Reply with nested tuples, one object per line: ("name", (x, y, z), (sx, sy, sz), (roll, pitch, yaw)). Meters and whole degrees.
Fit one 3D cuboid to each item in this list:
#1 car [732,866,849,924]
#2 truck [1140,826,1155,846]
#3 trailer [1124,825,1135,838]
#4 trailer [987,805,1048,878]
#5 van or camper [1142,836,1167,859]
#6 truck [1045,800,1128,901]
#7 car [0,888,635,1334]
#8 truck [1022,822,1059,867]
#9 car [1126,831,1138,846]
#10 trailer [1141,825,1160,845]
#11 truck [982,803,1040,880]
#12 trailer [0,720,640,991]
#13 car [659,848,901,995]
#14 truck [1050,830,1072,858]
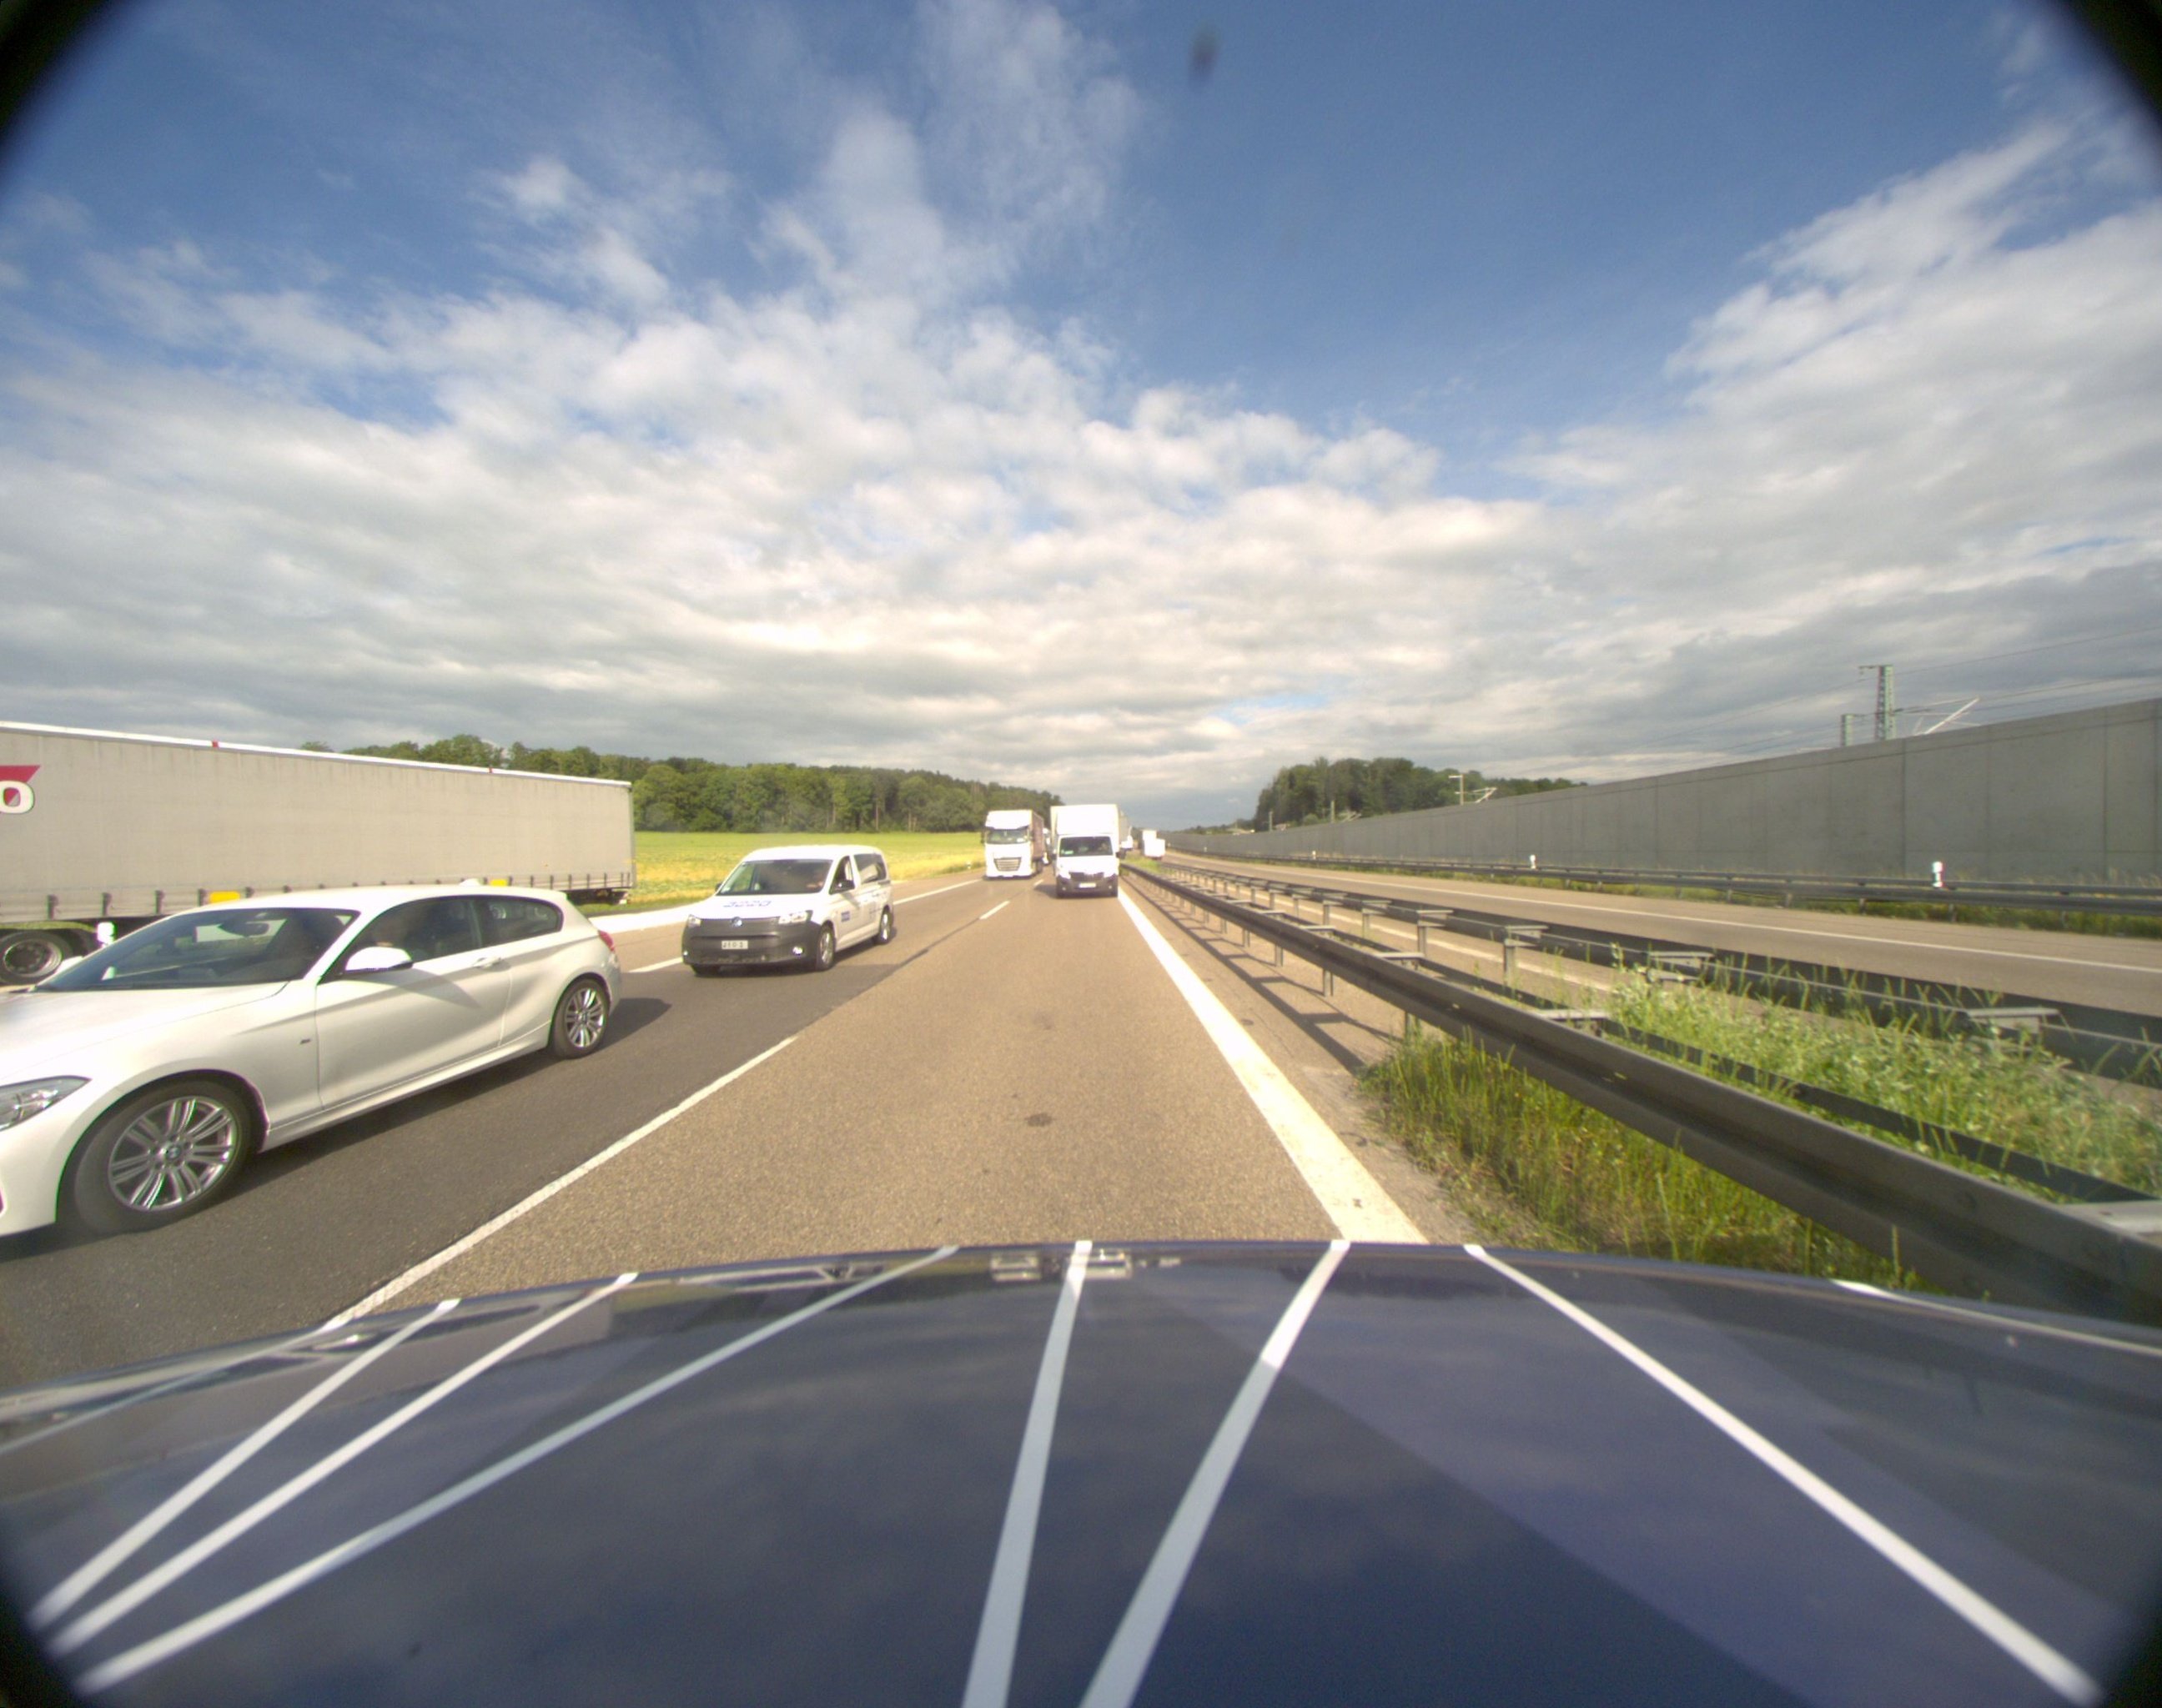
("car", (-8.132, 1.088, 21.678), (1.708, 1.345, 4.183), (-3, 0, 0))
("truck", (14.398, -3.906, 165.736), (2.783, 4.064, 5.531), (0, 1, 0))
("trailer", (16.008, -7.440, 251.567), (2.690, 4.014, 13.790), (-1, 0, 0))
("trailer", (-3.986, -0.856, 51.179), (2.742, 4.137, 14.016), (-2, 1, 0))
("van or camper", (8.818, -0.782, 91.614), (2.258, 2.688, 7.169), (-1, 0, 0))
("truck", (0.210, -0.160, 29.904), (2.500, 3.082, 12.037), (-2, 0, 0))
("car", (-4.801, 1.055, 4.516), (1.708, 1.424, 4.232), (-2, 1, 1))
("truck", (-3.949, -0.939, 76.713), (2.946, 4.094, 12.523), (-1, 1, 0))
("car", (9.946, -3.055, 148.360), (2.109, 2.854, 5.636), (-1, 1, 0))
("trailer", (14.345, -3.833, 158.722), (2.797, 4.054, 13.518), (0, 1, 0))
("truck", (-4.017, -0.737, 44.844), (2.736, 4.150, 5.766), (-2, 1, 0))
("trailer", (-16.549, -0.005, 16.590), (2.739, 4.136, 13.843), (-2, 0, 15))
("car", (-4.277, 0.816, 11.750), (1.729, 1.746, 4.702), (-3, 1, 1))
("truck", (-3.156, -1.567, 122.319), (2.946, 4.094, 16.207), (-1, 0, 0))
